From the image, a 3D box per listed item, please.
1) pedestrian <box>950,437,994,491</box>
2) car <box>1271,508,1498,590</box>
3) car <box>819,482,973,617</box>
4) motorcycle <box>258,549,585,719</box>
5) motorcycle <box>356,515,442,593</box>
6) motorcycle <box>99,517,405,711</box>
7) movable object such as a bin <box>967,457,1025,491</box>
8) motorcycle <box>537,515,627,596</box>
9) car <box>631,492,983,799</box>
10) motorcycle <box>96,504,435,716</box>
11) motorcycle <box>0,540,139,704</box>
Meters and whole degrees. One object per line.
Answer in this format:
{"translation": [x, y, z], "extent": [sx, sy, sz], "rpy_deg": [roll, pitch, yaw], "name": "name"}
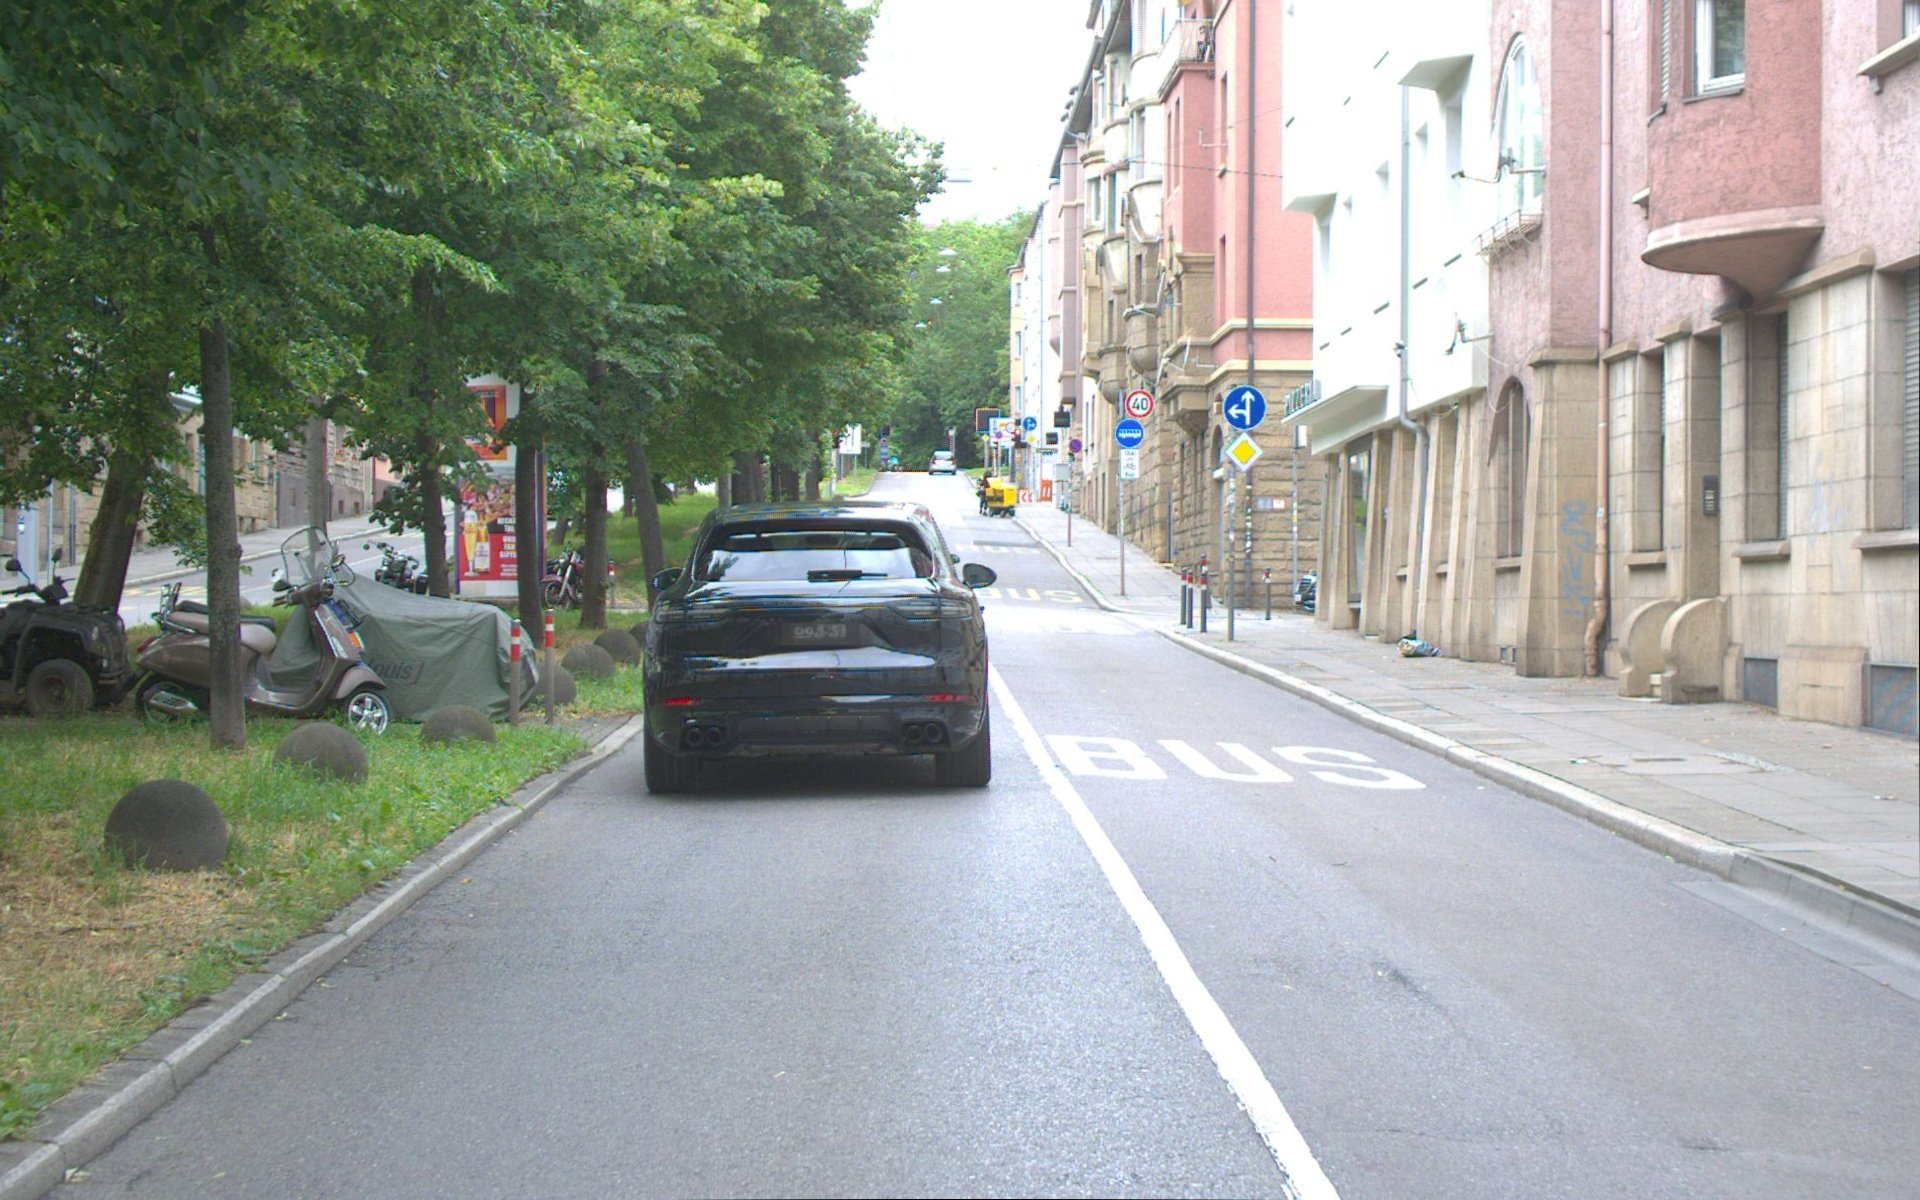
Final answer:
{"translation": [0.459, -5.142, 130.187], "extent": [1.301, 2.007, 1.020], "rpy_deg": [-1, 2, -34], "name": "pedestrian"}
{"translation": [7.572, -0.934, 61.134], "extent": [1.999, 1.371, 3.990], "rpy_deg": [1, 2, 45], "name": "car"}
{"translation": [-0.841, -0.714, 46.677], "extent": [1.993, 1.747, 4.000], "rpy_deg": [1, 2, 0], "name": "car"}
{"translation": [-4.087, 0.248, 26.235], "extent": [2.355, 1.231, 1.034], "rpy_deg": [0, 2, -2], "name": "motorcycle"}
{"translation": [-8.223, -0.664, 50.510], "extent": [0.900, 1.103, 2.251], "rpy_deg": [0, 0, 0], "name": "motorcycle"}
{"translation": [-4.807, 0.096, 23.436], "extent": [1.924, 1.292, 0.893], "rpy_deg": [0, 0, -2], "name": "motorcycle"}
{"translation": [1.343, -4.743, 129.342], "extent": [1.237, 1.270, 1.845], "rpy_deg": [-1, 2, -42], "name": "movable object such as a bin"}
{"translation": [-5.553, -0.668, 50.650], "extent": [1.062, 1.144, 2.448], "rpy_deg": [0, 2, 0], "name": "motorcycle"}
{"translation": [-0.915, 0.191, 20.805], "extent": [1.903, 1.660, 4.136], "rpy_deg": [0, 2, -2], "name": "car"}
{"translation": [-4.887, 0.057, 24.283], "extent": [2.194, 1.433, 0.874], "rpy_deg": [1, 2, 2], "name": "motorcycle"}
{"translation": [-7.520, 0.155, 26.727], "extent": [2.029, 1.231, 0.897], "rpy_deg": [0, 2, 5], "name": "motorcycle"}
